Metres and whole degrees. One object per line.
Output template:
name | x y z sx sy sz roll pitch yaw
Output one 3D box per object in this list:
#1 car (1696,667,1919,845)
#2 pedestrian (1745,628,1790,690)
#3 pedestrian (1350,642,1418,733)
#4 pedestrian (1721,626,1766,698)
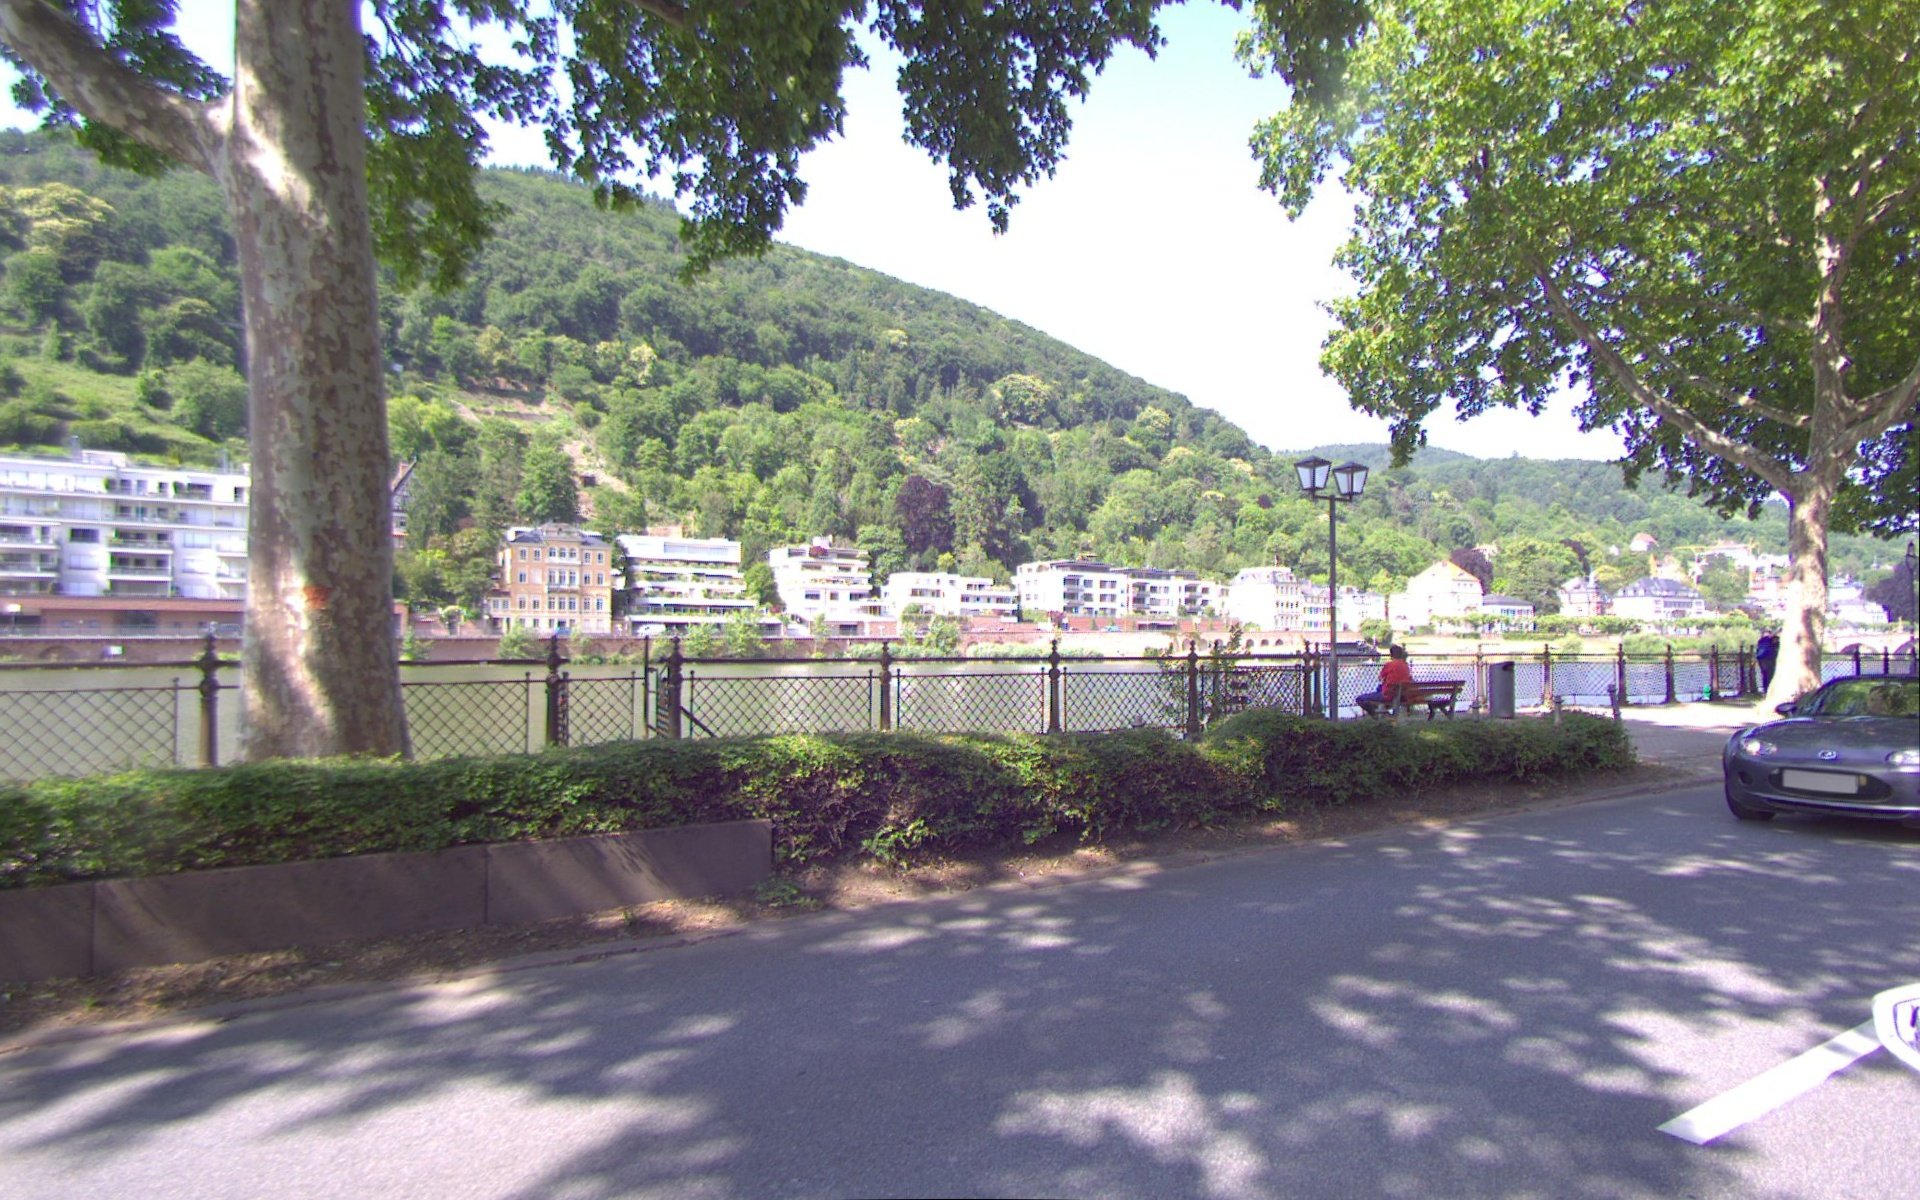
car | 7.937 1.186 8.419 3.447 1.227 1.689 2 -4 -32
pedestrian | 21.448 1.562 26.680 0.696 1.624 0.701 2 -2 -29
pedestrian | 6.526 1.333 15.471 0.649 1.325 0.699 2 0 -30
pedestrian | 20.422 1.604 26.195 0.696 1.820 0.701 2 -2 -29
